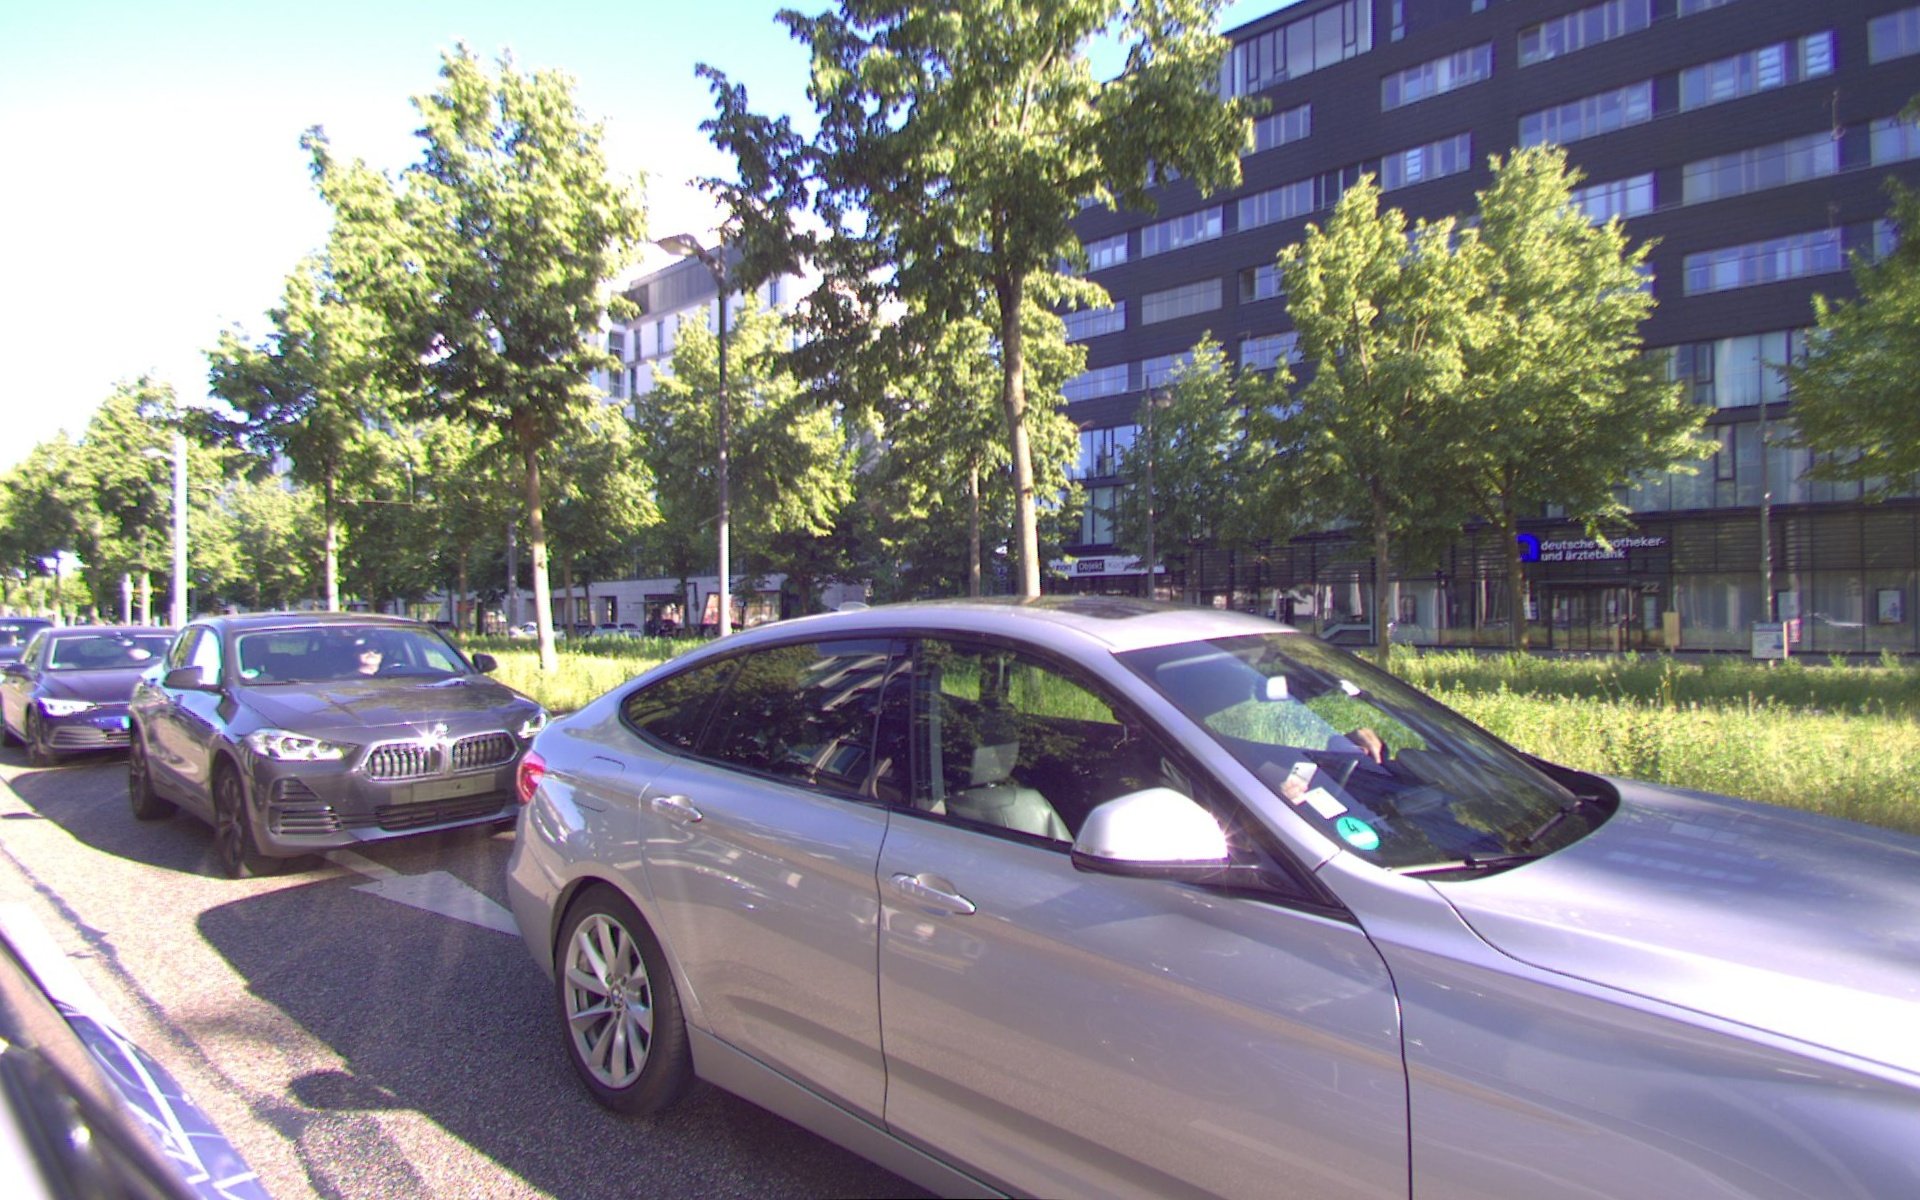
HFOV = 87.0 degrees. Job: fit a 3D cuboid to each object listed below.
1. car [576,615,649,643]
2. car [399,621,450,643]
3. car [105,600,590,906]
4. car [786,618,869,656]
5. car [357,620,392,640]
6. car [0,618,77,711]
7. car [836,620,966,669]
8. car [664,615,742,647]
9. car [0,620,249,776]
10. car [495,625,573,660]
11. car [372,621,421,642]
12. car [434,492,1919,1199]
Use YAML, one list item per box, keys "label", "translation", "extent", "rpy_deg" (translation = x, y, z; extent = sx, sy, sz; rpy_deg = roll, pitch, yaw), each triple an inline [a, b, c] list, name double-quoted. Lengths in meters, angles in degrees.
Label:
- label: "car"
  translation: [-21.749, 1.811, 63.241]
  extent: [4.785, 1.711, 1.988]
  rpy_deg: [-1, -1, 38]
- label: "car"
  translation: [-42.971, 2.569, 81.210]
  extent: [4.788, 1.711, 1.986]
  rpy_deg: [-1, -1, 40]
- label: "car"
  translation: [-4.454, 0.811, 7.104]
  extent: [4.027, 1.534, 1.789]
  rpy_deg: [-1, -1, 41]
- label: "car"
  translation: [-6.492, 1.763, 49.365]
  extent: [3.998, 1.762, 1.834]
  rpy_deg: [-1, -1, 41]
- label: "car"
  translation: [-51.013, 2.632, 88.164]
  extent: [3.741, 1.682, 1.581]
  rpy_deg: [-1, -1, 41]
- label: "car"
  translation: [-18.162, 1.164, 19.110]
  extent: [4.164, 1.602, 1.788]
  rpy_deg: [-1, -1, 42]
- label: "car"
  translation: [-1.874, 1.343, 31.199]
  extent: [3.998, 1.403, 1.644]
  rpy_deg: [-1, -1, 41]
- label: "car"
  translation: [-14.330, 1.718, 56.339]
  extent: [4.790, 1.697, 1.834]
  rpy_deg: [-1, -1, 41]
- label: "car"
  translation: [-9.837, 0.980, 11.676]
  extent: [4.253, 1.465, 1.789]
  rpy_deg: [-1, -1, 42]
- label: "car"
  translation: [-22.013, 2.160, 52.225]
  extent: [4.790, 1.742, 1.834]
  rpy_deg: [-1, -1, 41]
- label: "car"
  translation: [-47.356, 2.642, 85.012]
  extent: [4.788, 1.711, 1.986]
  rpy_deg: [-1, -1, 40]
- label: "car"
  translation: [0.509, 0.664, 2.746]
  extent: [4.739, 1.500, 1.790]
  rpy_deg: [-1, -1, 40]
